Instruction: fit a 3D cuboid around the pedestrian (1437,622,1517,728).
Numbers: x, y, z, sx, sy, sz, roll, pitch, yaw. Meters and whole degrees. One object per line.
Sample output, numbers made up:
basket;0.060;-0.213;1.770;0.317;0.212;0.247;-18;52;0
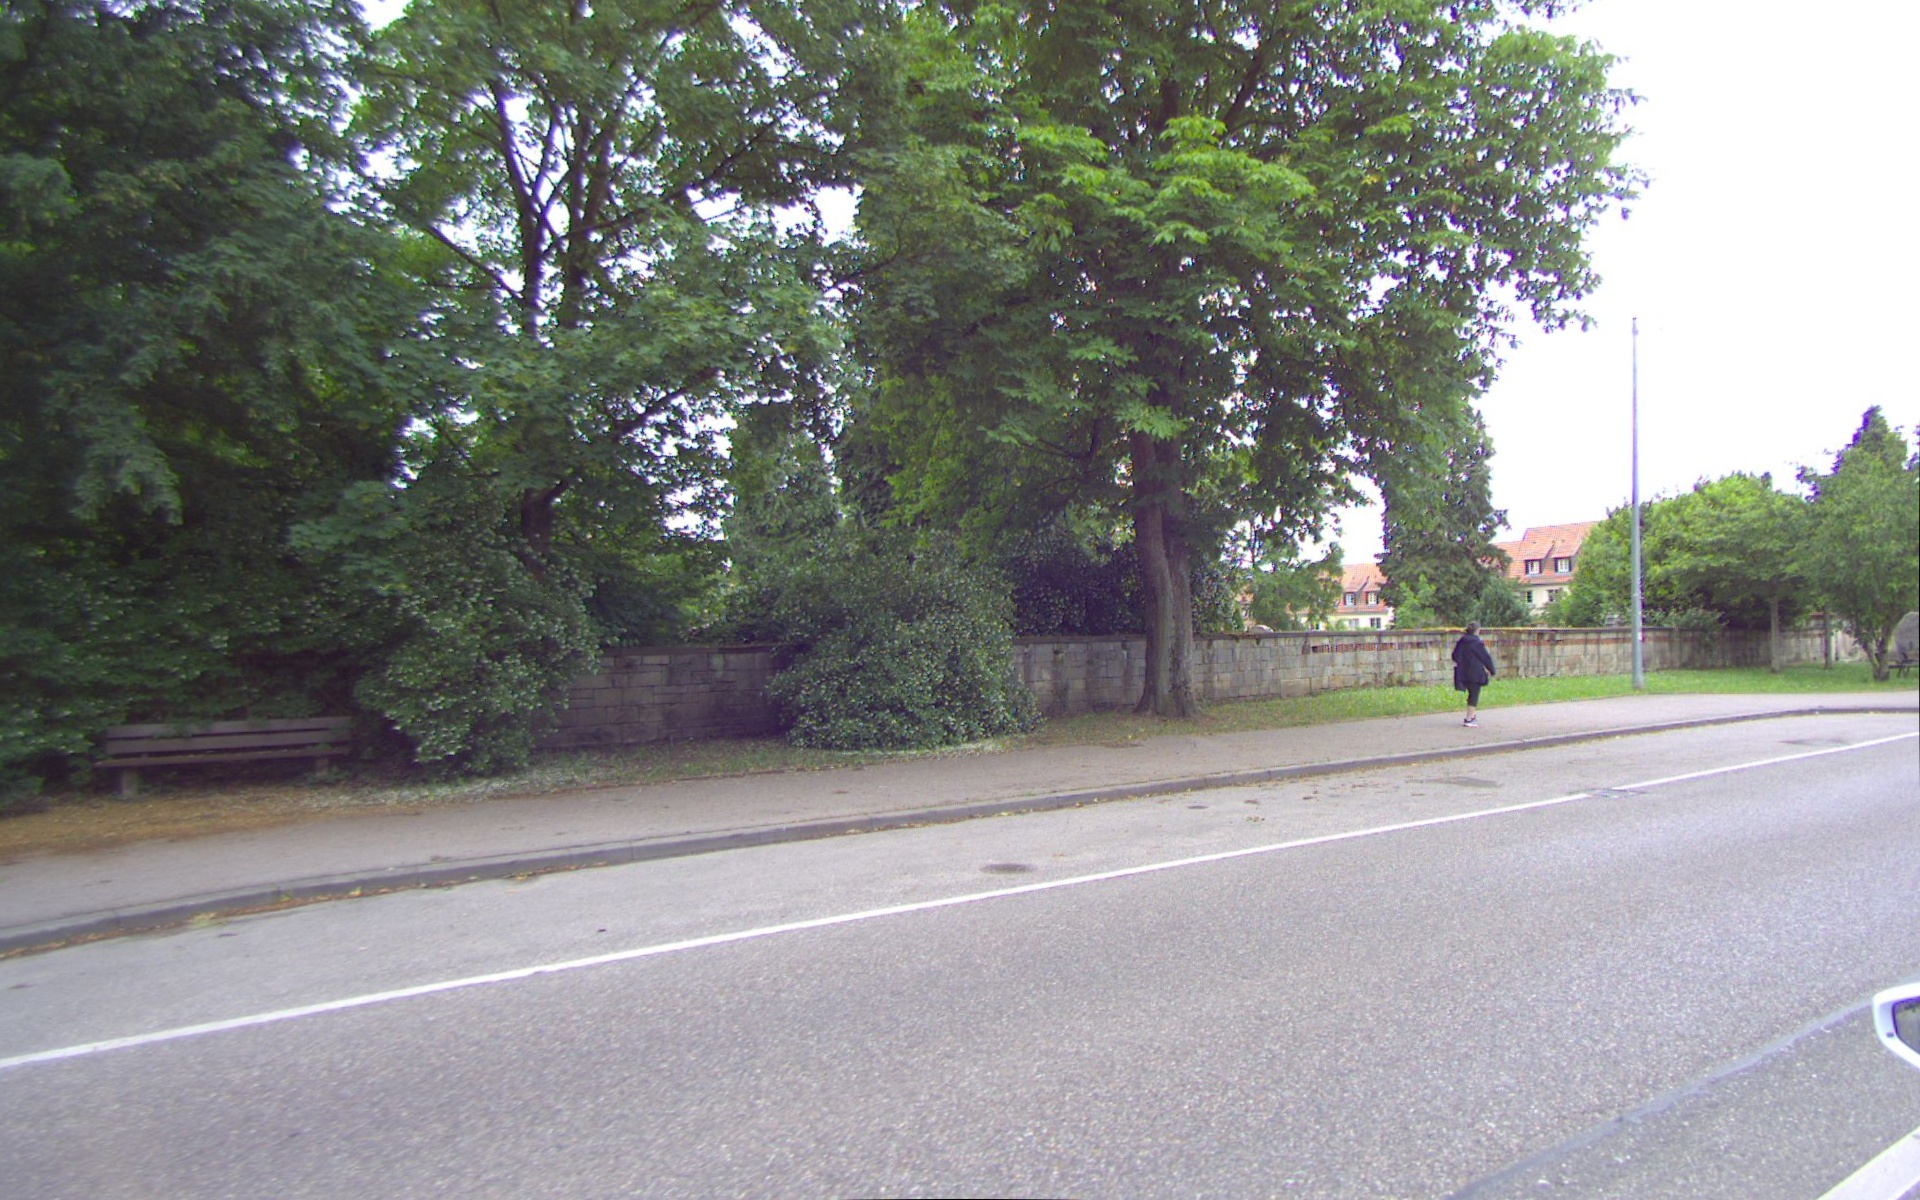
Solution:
pedestrian;8.146;1.146;15.825;0.955;1.599;0.745;0;0;-31
